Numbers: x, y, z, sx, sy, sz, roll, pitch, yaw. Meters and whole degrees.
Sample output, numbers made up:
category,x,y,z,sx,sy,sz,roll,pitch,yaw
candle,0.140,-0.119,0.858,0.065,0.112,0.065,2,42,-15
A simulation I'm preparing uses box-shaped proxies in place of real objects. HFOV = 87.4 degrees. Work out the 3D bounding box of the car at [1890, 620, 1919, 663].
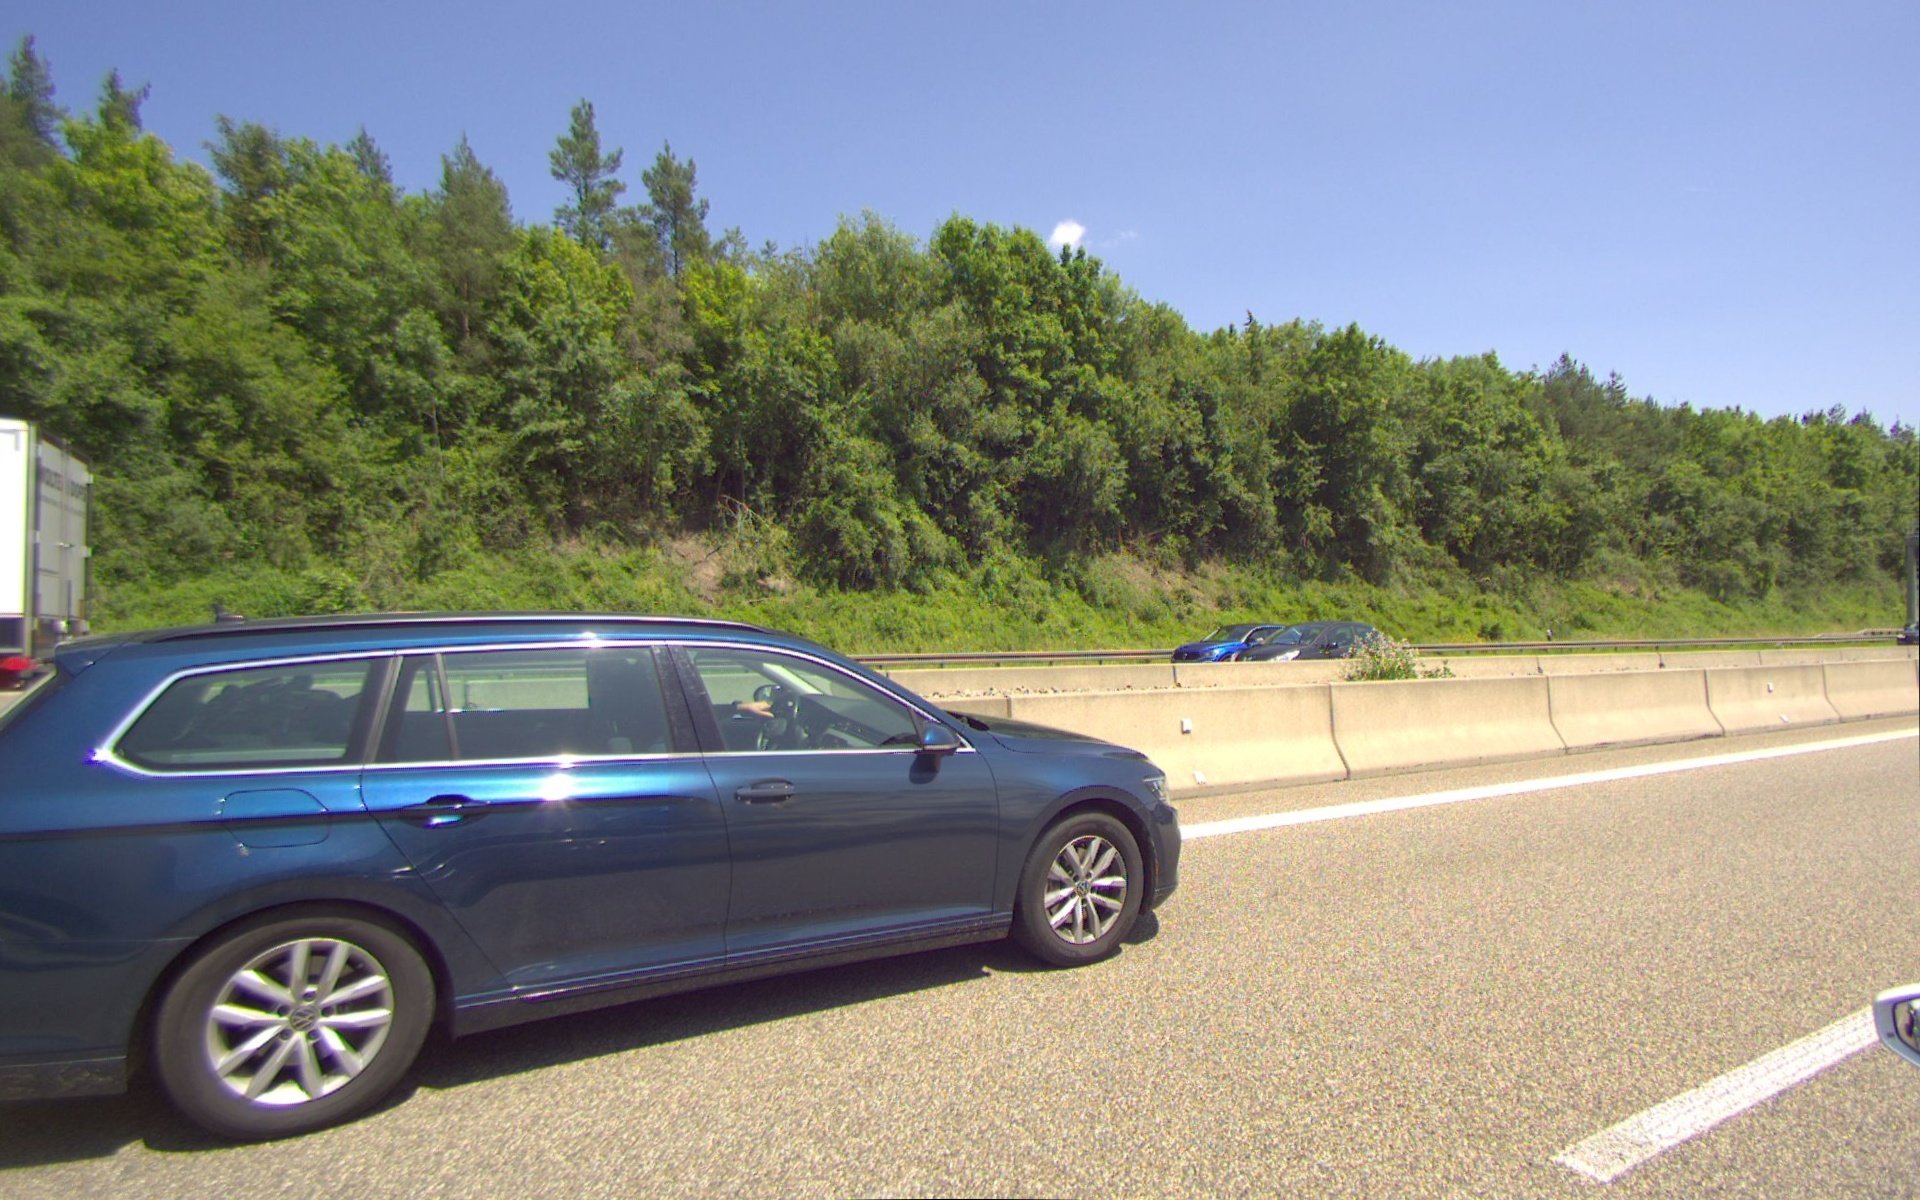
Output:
category,x,y,z,sx,sy,sz,roll,pitch,yaw
car,48.443,2.107,49.956,4.428,2.040,2.102,2,0,-32

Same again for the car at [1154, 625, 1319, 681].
category,x,y,z,sx,sy,sz,roll,pitch,yaw
car,7.331,1.368,26.619,3.950,1.352,1.986,1,-1,-28

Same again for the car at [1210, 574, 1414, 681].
category,x,y,z,sx,sy,sz,roll,pitch,yaw
car,7.390,0.561,21.002,3.956,2.040,1.982,2,0,-32

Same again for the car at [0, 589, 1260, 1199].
category,x,y,z,sx,sy,sz,roll,pitch,yaw
car,-1.116,0.749,4.147,4.623,1.469,1.865,1,0,-30

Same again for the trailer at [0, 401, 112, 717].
category,x,y,z,sx,sy,sz,roll,pitch,yaw
trailer,-17.075,-0.670,11.133,11.269,3.923,2.982,2,0,-31
